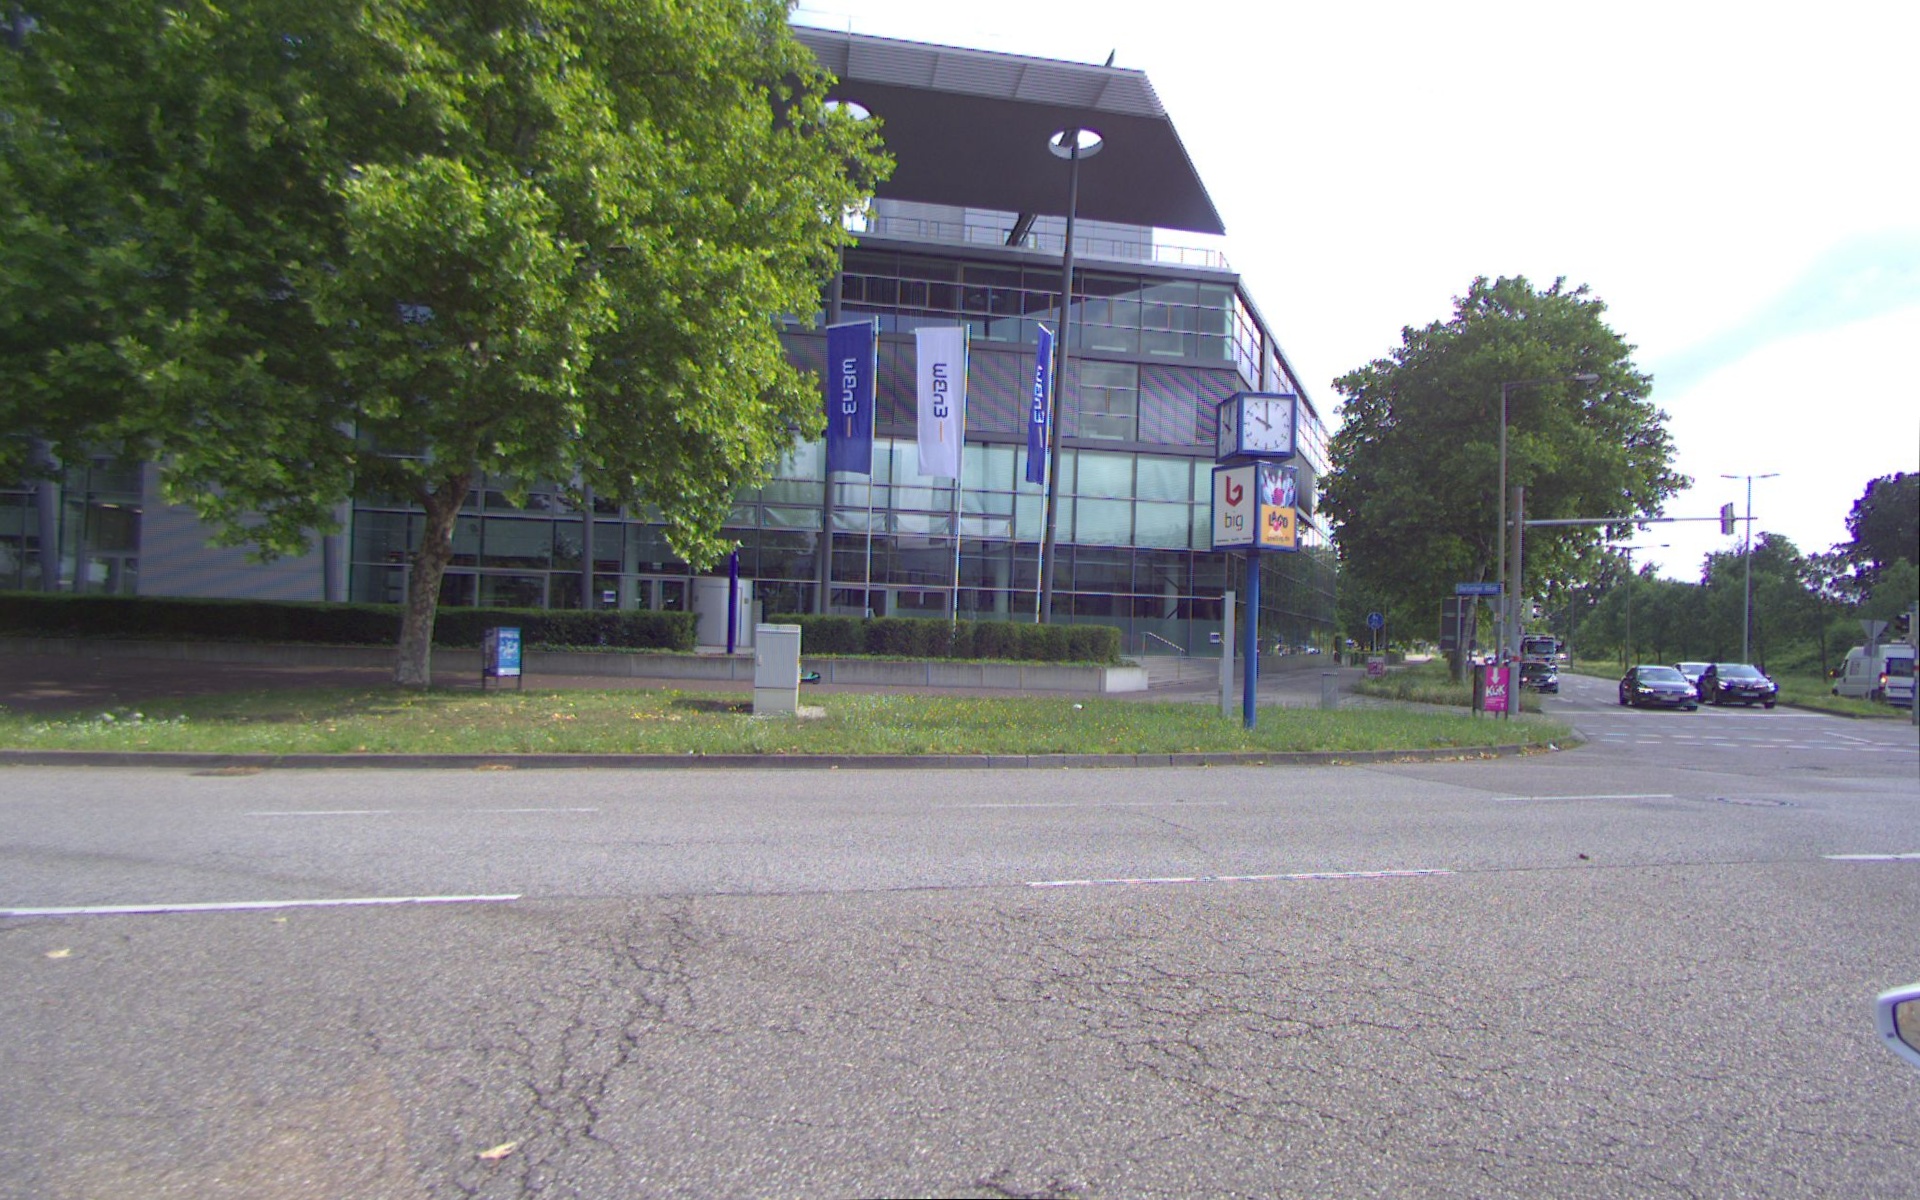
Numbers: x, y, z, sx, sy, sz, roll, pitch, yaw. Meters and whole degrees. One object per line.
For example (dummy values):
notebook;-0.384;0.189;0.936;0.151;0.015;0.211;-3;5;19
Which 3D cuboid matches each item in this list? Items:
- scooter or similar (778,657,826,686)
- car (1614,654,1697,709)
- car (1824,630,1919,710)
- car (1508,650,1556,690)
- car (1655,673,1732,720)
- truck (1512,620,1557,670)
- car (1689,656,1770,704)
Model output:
scooter or similar;-4.100;1.867;26.063;1.207;0.722;0.241;1;-2;-5
car;24.681;2.827;35.805;1.836;1.595;4.562;1;0;27
car;34.682;2.577;37.684;2.163;2.762;4.928;1;-2;25
car;27.478;3.328;48.339;1.702;1.593;3.996;3;1;26
car;31.605;4.112;43.412;1.962;1.750;3.997;0;-2;25
truck;50.422;3.812;88.419;2.609;3.940;10.149;1;0;26
car;29.160;2.976;38.172;1.682;1.608;4.357;0;-2;27
